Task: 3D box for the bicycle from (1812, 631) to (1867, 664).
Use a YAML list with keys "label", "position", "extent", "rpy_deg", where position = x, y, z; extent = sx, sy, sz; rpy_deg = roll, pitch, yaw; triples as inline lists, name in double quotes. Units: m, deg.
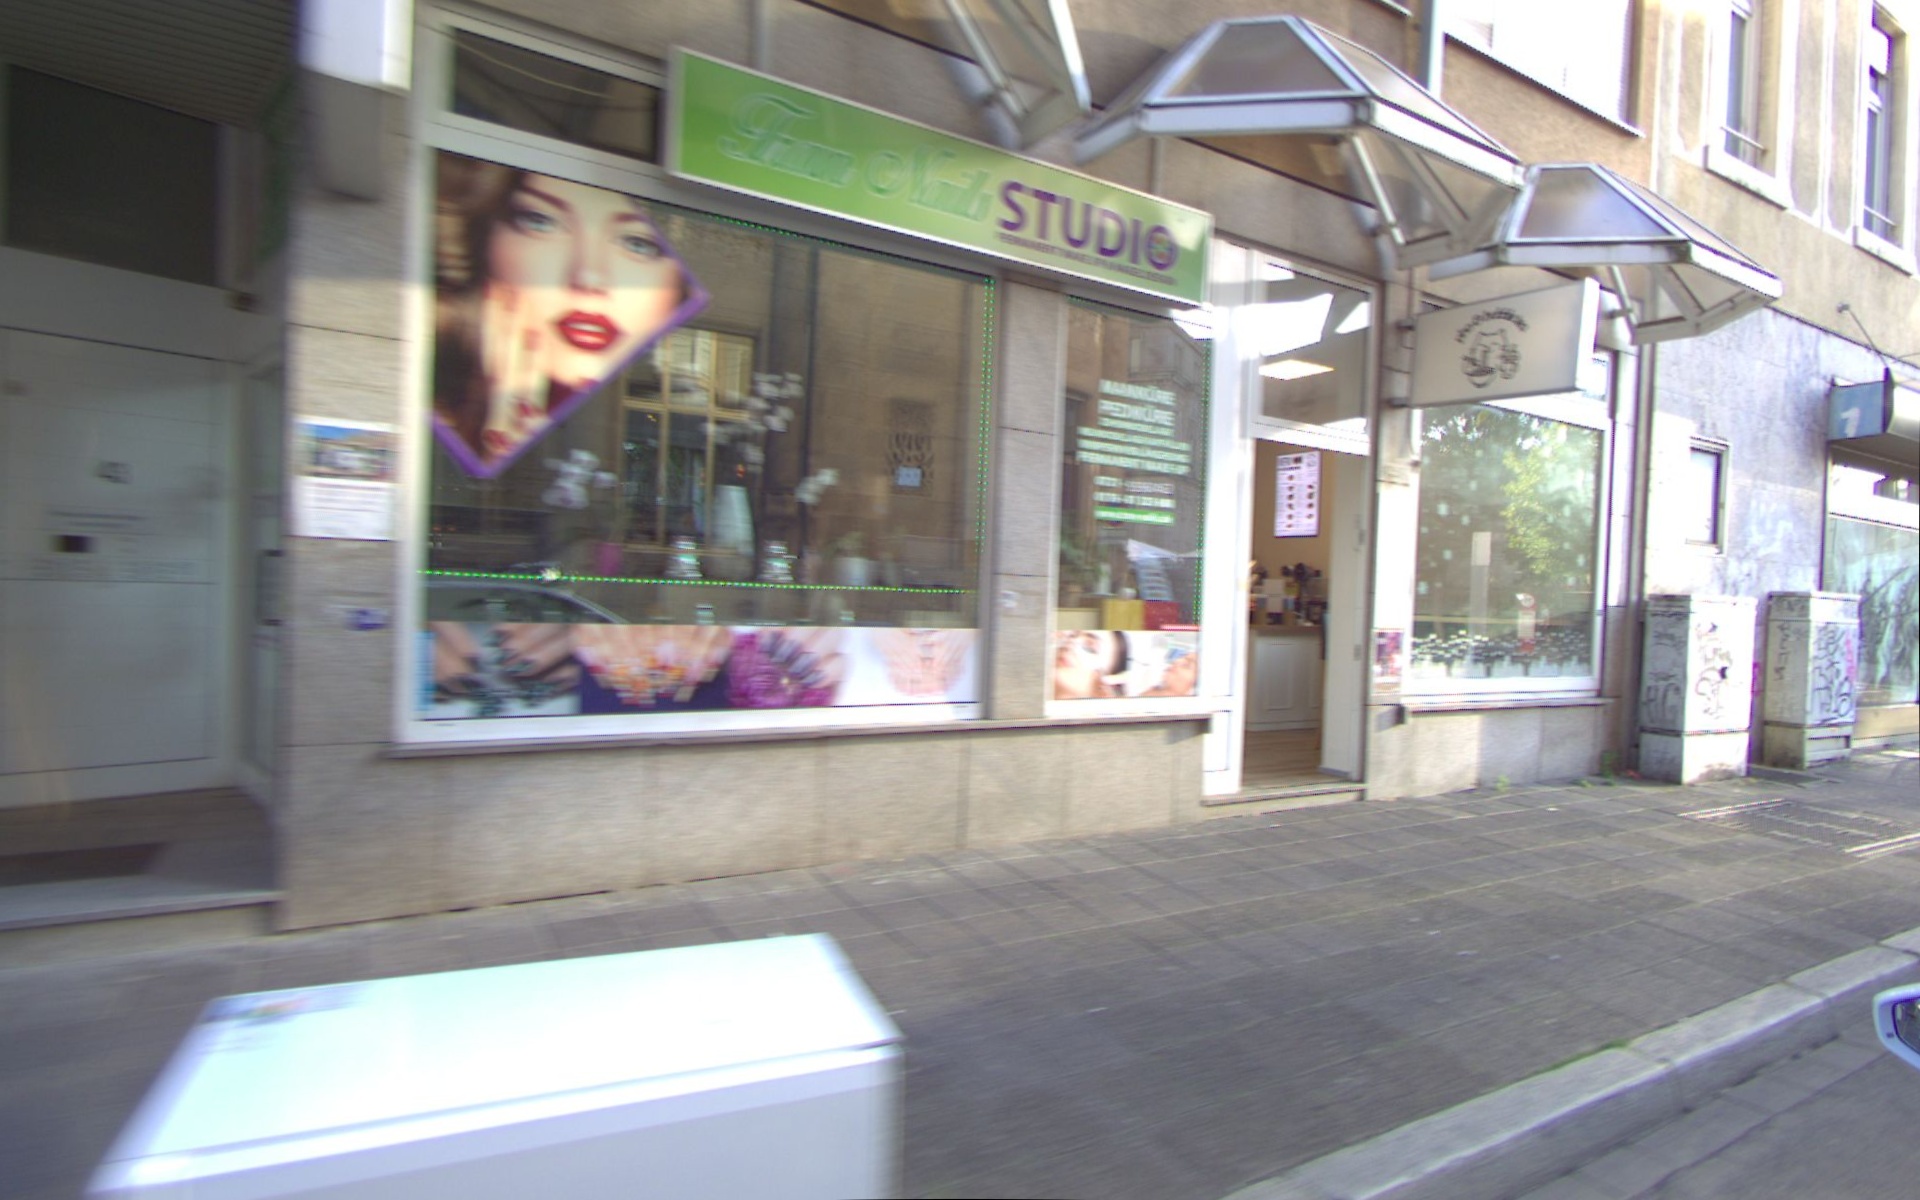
- label: "bicycle"
  position: [37.899, 2.018, 43.322]
  extent: [0.503, 1.271, 1.978]
  rpy_deg: [3, 1, -2]
